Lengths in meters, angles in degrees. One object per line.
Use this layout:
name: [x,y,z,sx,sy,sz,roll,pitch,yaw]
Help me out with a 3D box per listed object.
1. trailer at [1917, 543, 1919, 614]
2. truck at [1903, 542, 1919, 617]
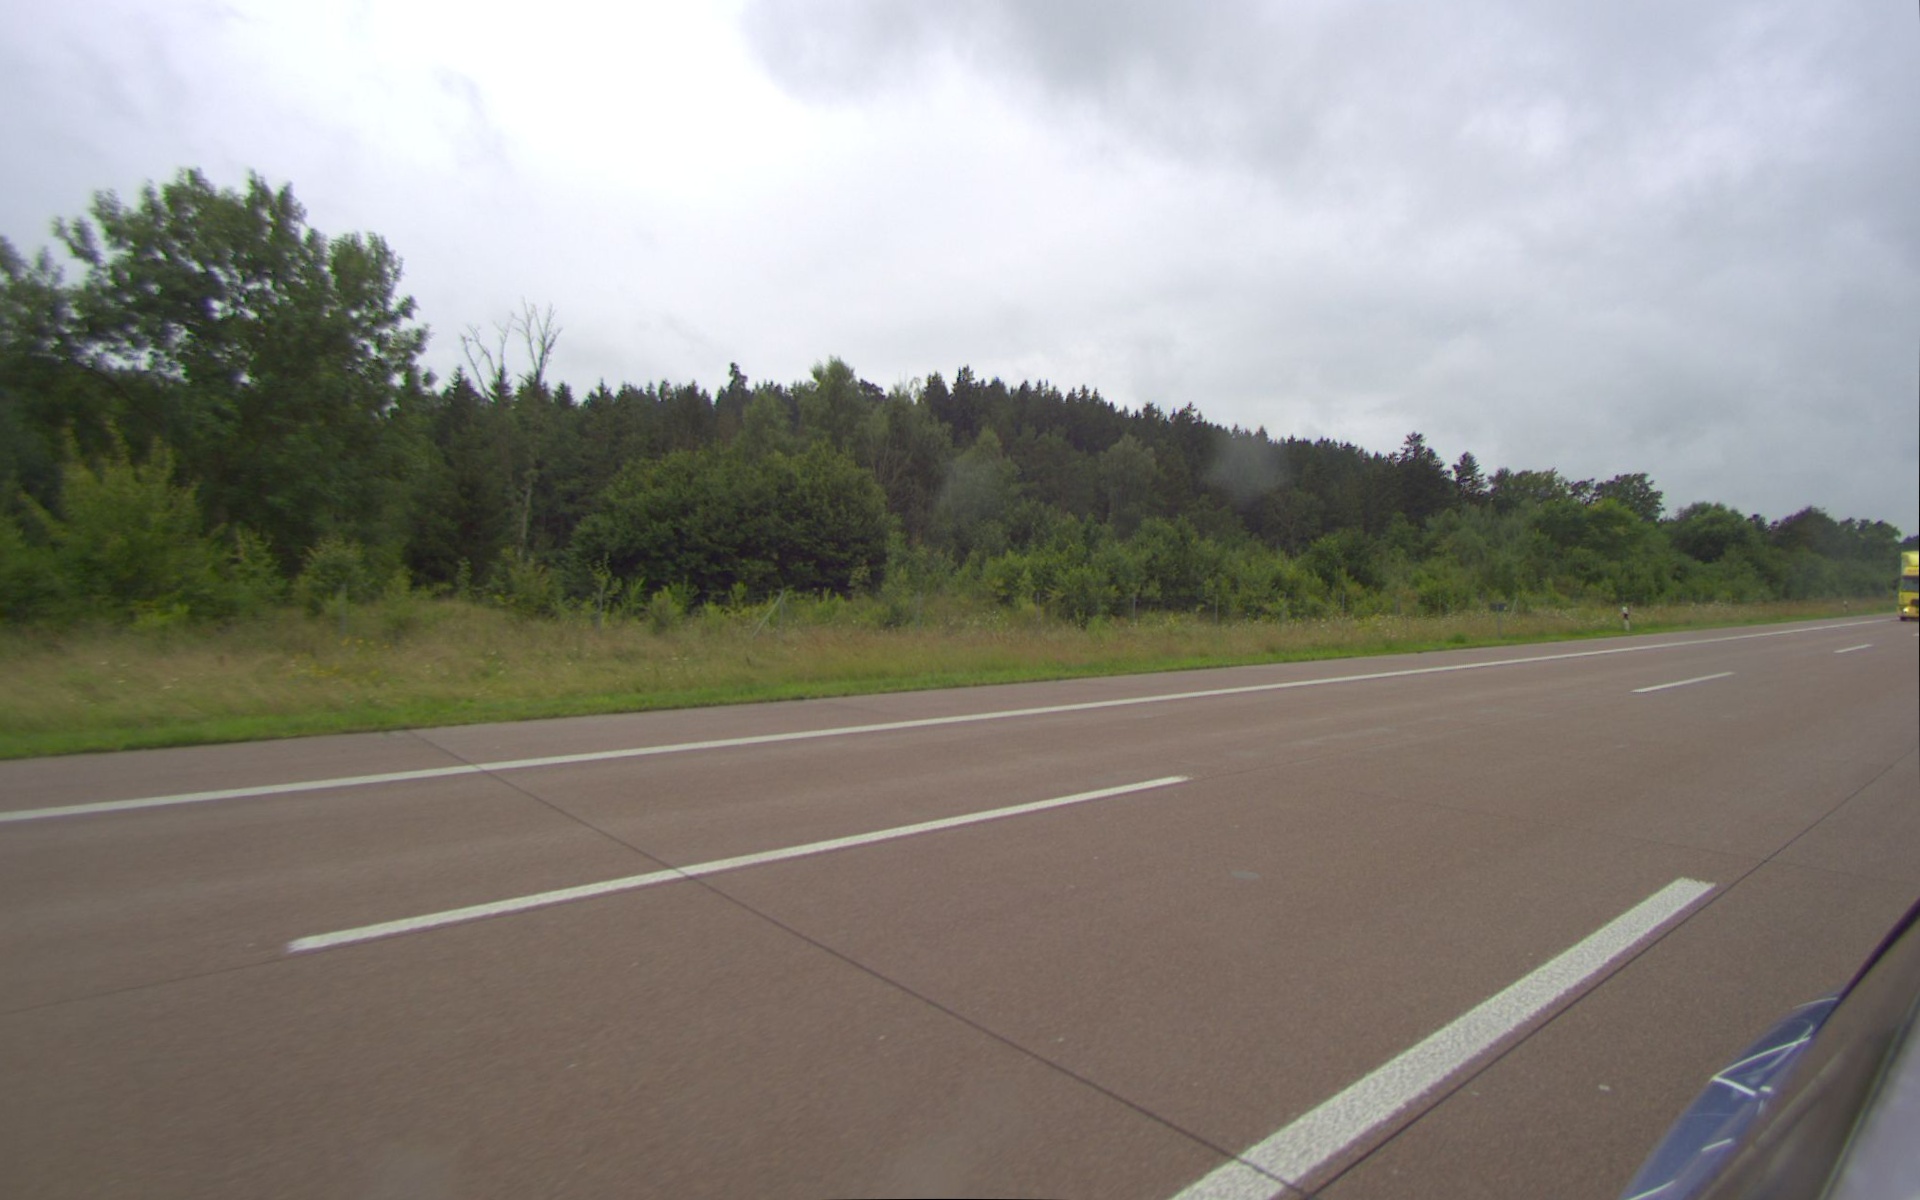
trailer: [64.449,-1.463,65.019,13.830,4.281,2.571,-2,1,-40]
truck: [57.858,-1.255,59.589,6.139,4.267,2.609,-2,1,-39]
